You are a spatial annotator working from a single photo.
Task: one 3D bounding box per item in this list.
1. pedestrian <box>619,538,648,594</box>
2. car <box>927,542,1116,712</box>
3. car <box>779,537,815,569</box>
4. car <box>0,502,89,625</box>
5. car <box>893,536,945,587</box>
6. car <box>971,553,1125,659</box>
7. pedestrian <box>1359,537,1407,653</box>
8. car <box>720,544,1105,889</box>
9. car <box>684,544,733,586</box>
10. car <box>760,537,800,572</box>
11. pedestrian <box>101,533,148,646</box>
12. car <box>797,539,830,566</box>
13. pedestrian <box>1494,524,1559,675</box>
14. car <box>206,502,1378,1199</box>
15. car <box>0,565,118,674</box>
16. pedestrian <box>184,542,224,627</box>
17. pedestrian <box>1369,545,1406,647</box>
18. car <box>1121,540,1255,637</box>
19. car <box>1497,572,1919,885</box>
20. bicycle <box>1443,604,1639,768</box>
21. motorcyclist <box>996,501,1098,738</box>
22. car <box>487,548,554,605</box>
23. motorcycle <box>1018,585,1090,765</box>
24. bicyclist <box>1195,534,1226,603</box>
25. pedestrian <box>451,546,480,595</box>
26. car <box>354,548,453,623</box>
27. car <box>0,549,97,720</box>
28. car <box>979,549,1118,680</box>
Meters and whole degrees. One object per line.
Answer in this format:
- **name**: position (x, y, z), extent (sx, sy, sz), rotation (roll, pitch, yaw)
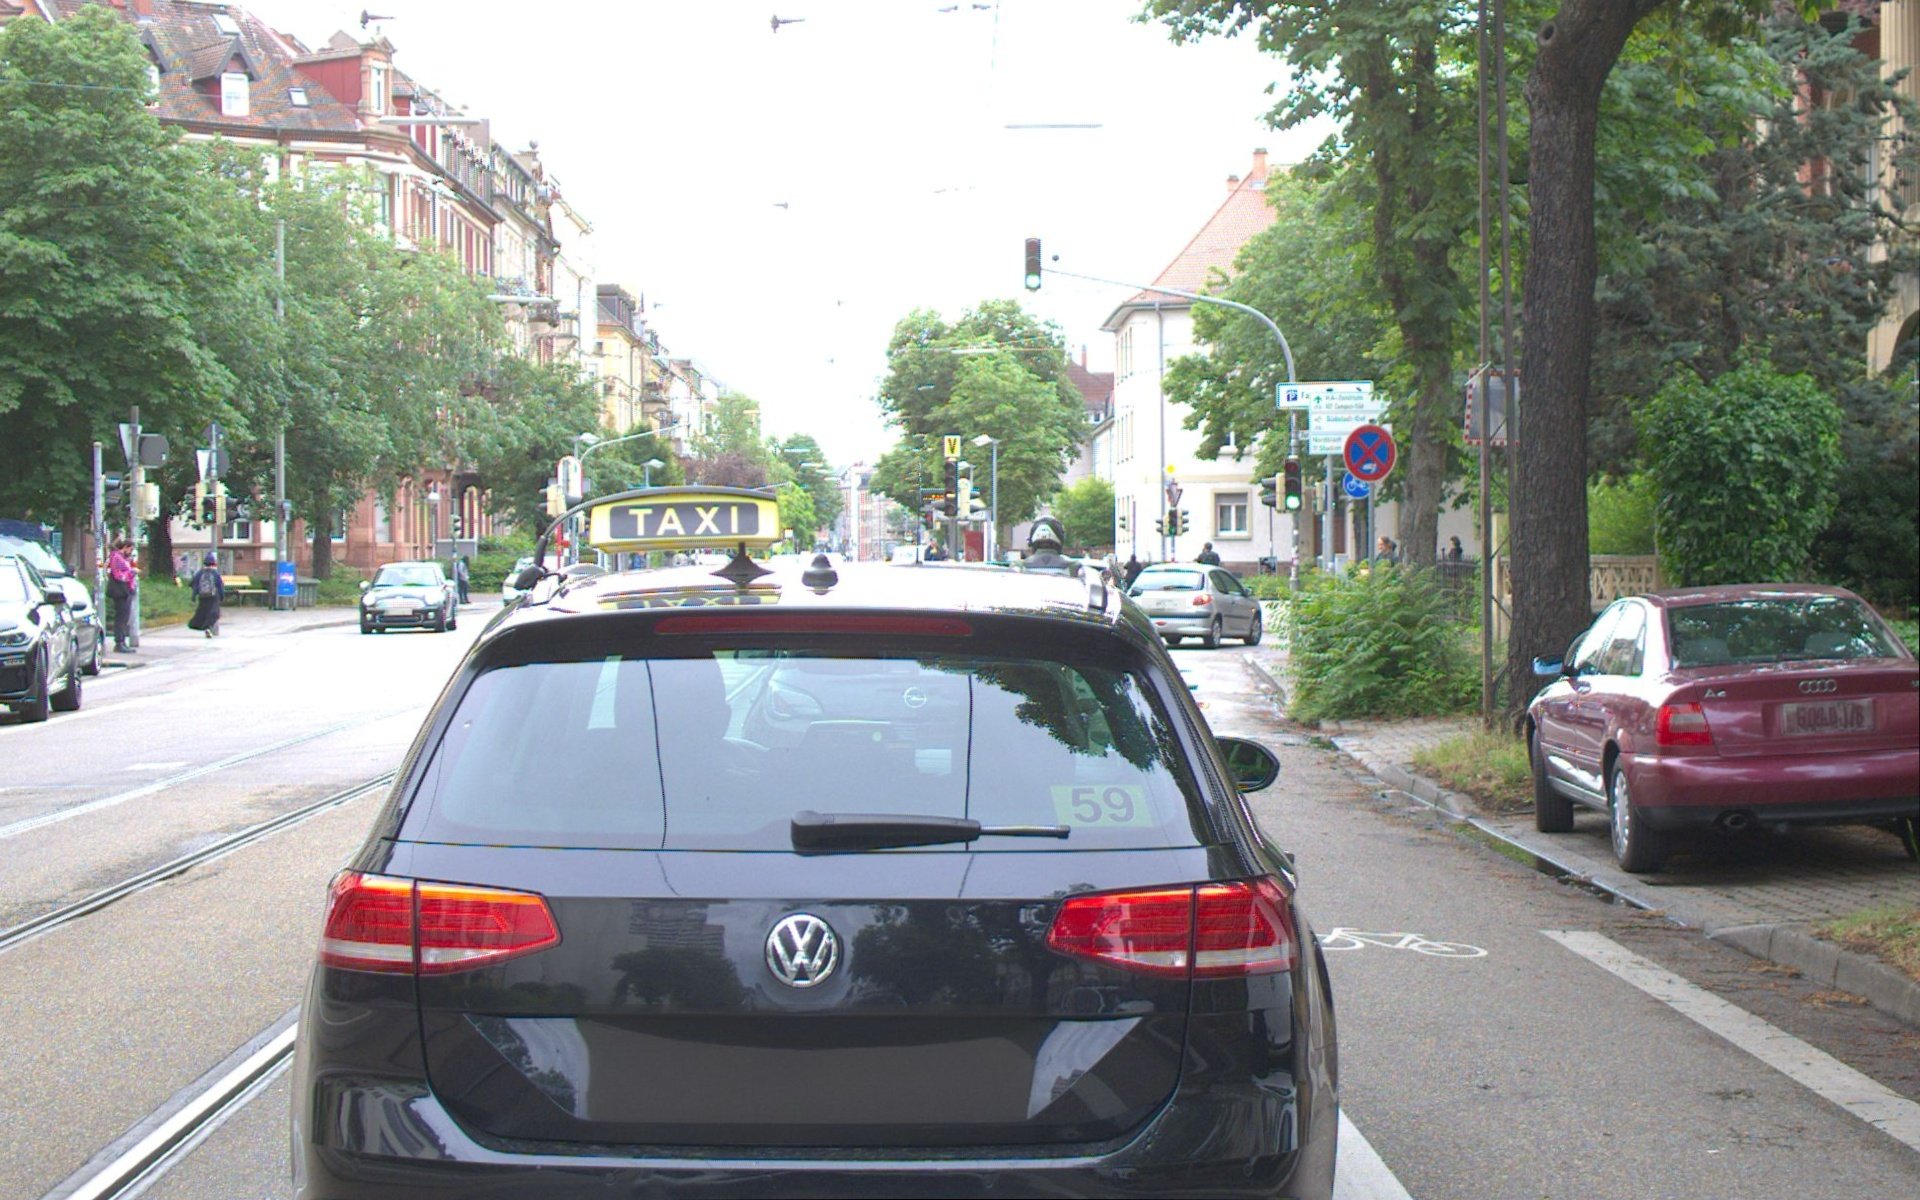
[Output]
- **pedestrian**: position (-8.823, -0.924, 93.006), extent (0.714, 1.515, 0.590), rotation (0, 1, 1)
- **car**: position (0.544, 0.214, 33.451), extent (1.723, 1.541, 4.000), rotation (0, 1, -1)
- **car**: position (-8.379, -2.440, 176.564), extent (1.721, 1.617, 3.864), rotation (-1, 1, -1)
- **car**: position (-20.056, -0.746, 70.051), extent (2.180, 2.409, 5.377), rotation (-1, 1, -43)
- **car**: position (-1.667, -1.556, 139.742), extent (2.033, 2.007, 4.000), rotation (1, 0, -1)
- **car**: position (1.297, 0.052, 48.931), extent (1.892, 1.403, 3.999), rotation (-1, 1, 6)
- **pedestrian**: position (6.800, -0.089, 55.232), extent (0.585, 1.824, 0.604), rotation (-3, 1, -1)
- **car**: position (-0.235, 0.491, 17.445), extent (1.723, 1.541, 4.000), rotation (0, 1, -1)
- **car**: position (-10.058, -1.409, 137.502), extent (1.721, 1.617, 3.864), rotation (-1, 1, -1)
- **car**: position (-8.487, -2.172, 161.964), extent (1.721, 1.617, 3.864), rotation (-1, 1, -1)
- **pedestrian**: position (-13.679, -0.183, 56.275), extent (0.623, 1.836, 0.610), rotation (0, 1, -3)
- **car**: position (-8.306, -2.703, 195.302), extent (1.721, 1.460, 3.864), rotation (-1, 1, -1)
- **pedestrian**: position (6.846, -0.009, 41.576), extent (0.632, 1.808, 0.726), rotation (0, 1, -3)
- **car**: position (-0.267, 0.594, 7.068), extent (1.723, 1.541, 4.000), rotation (0, 1, -1)
- **car**: position (-12.918, 0.236, 47.596), extent (1.648, 1.357, 4.130), rotation (2, 1, -3)
- **pedestrian**: position (-14.716, -0.307, 66.916), extent (0.589, 1.657, 0.839), rotation (0, 1, -1)
- **pedestrian**: position (7.755, -0.078, 62.396), extent (0.514, 1.824, 0.417), rotation (-3, 1, 16)
- **car**: position (3.886, -0.204, 59.229), extent (1.993, 1.572, 4.000), rotation (1, 0, -1)
- **car**: position (4.067, 0.599, 18.531), extent (1.602, 1.394, 4.227), rotation (-2, 1, -1)
- **bicycle**: position (4.404, 0.635, 25.985), extent (0.433, 1.194, 1.899), rotation (0, 0, 45)
- **motorcyclist**: position (0.629, 0.134, 25.006), extent (0.703, 1.686, 0.804), rotation (0, 1, -1)
- **car**: position (-12.128, -0.674, 95.005), extent (1.698, 1.491, 3.931), rotation (-1, 1, -6)
- **motorcycle**: position (0.671, 0.518, 24.928), extent (0.446, 1.231, 1.907), rotation (0, 1, -1)
- **bicyclist**: position (5.685, -0.719, 77.940), extent (0.651, 1.563, 0.695), rotation (0, 1, 7)
- **pedestrian**: position (-15.383, -0.909, 106.986), extent (0.589, 1.515, 0.647), rotation (0, 1, 35)
- **car**: position (-11.184, -0.307, 69.248), extent (1.608, 1.417, 3.487), rotation (-1, 1, -3)
- **car**: position (-10.015, 0.336, 35.032), extent (1.882, 1.606, 4.889), rotation (-3, 1, -9)
- **car**: position (1.079, 0.164, 43.299), extent (1.606, 1.550, 3.578), rotation (1, 0, -1)
